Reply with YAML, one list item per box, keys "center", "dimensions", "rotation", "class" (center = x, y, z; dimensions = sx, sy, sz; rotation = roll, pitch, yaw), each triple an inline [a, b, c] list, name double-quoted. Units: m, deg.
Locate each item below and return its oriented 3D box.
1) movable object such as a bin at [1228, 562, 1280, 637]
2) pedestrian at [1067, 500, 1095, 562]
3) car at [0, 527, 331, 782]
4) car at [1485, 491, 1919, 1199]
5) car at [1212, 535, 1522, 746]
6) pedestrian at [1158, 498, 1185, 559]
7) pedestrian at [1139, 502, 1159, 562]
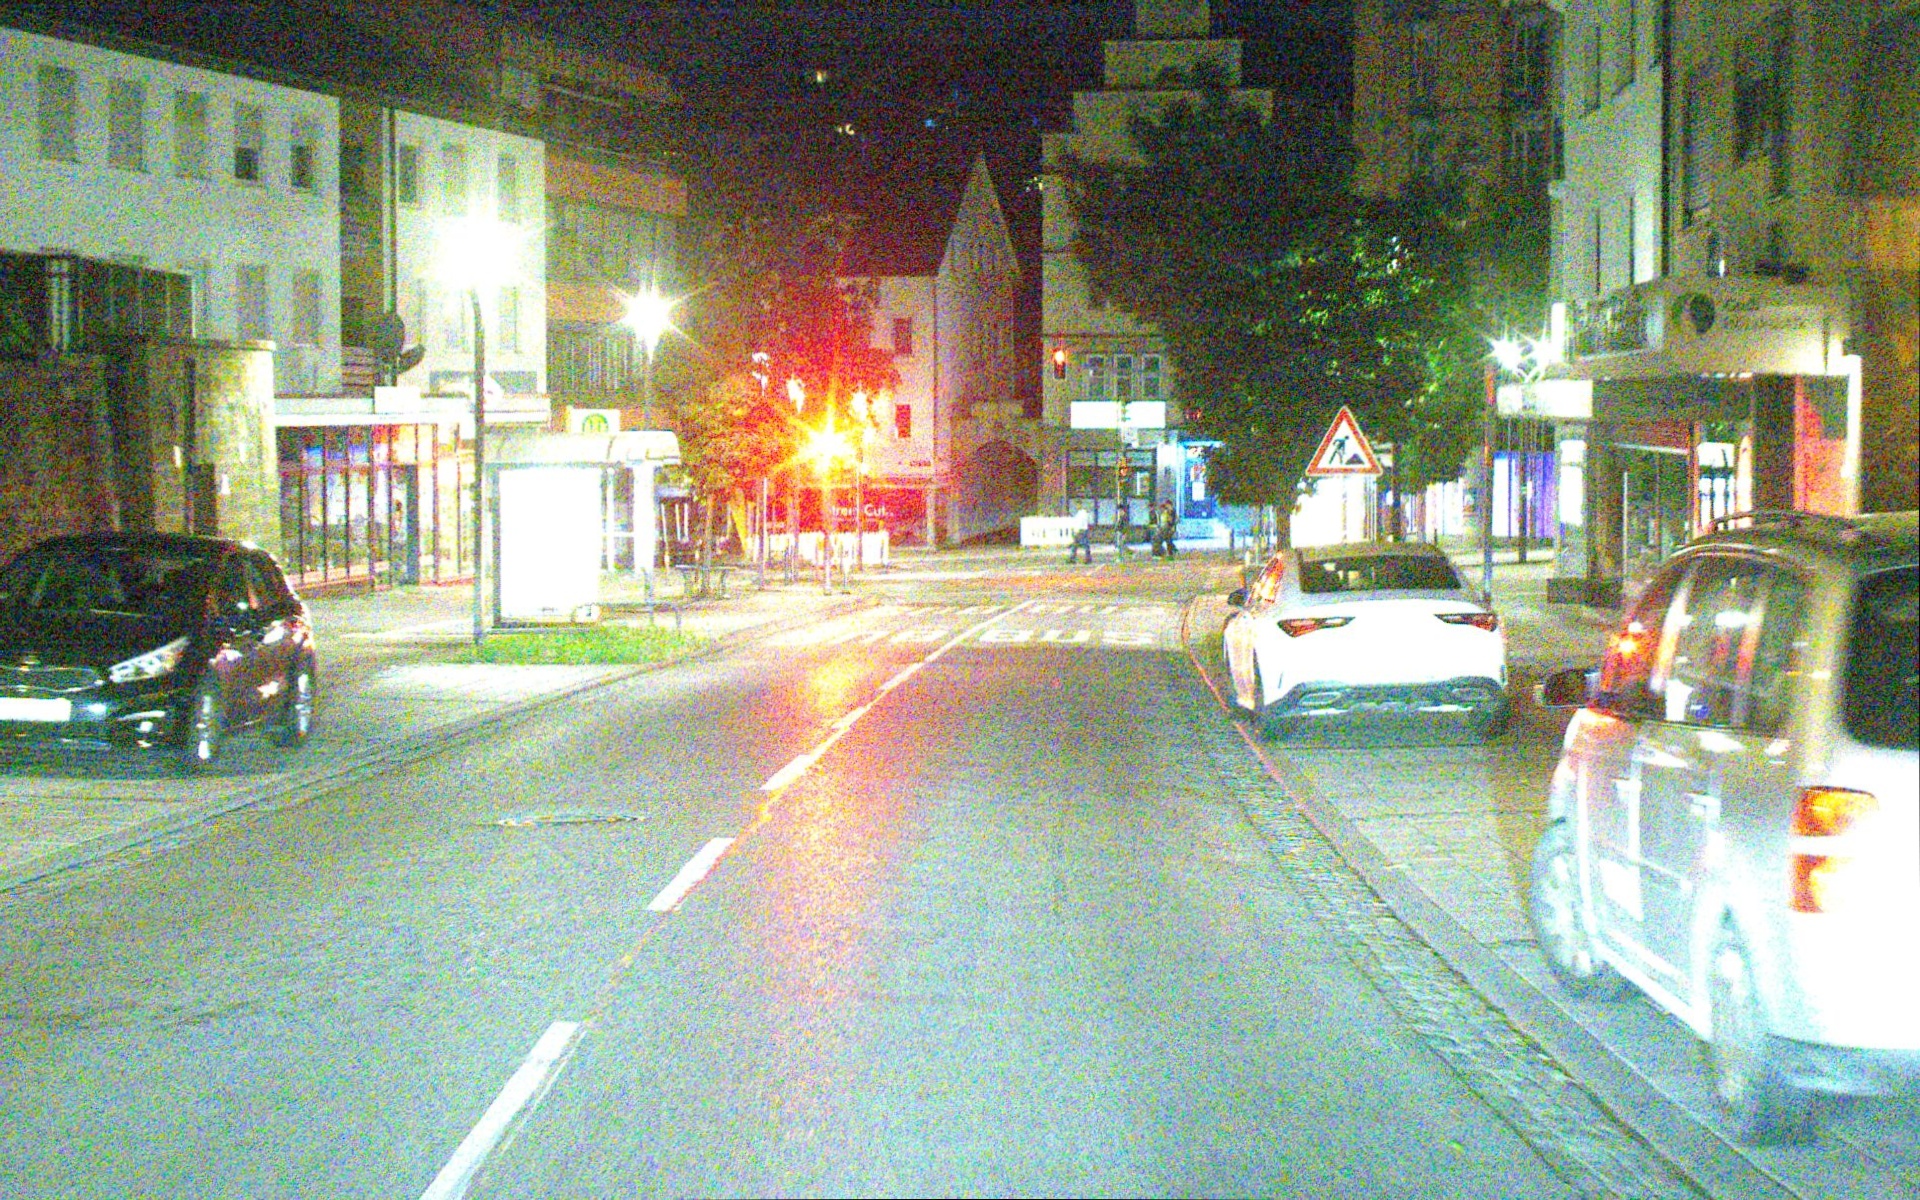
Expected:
- center: [3.738, -0.011, 43.696]
  dimensions: [0.524, 0.934, 0.629]
  rotation: [1, 0, -7]
  class: "movable object such as a bin"
- center: [3.571, -2.034, 101.518]
  dimensions: [0.716, 1.789, 0.569]
  rotation: [1, 0, 12]
  class: "pedestrian"
- center: [-5.383, 0.274, 22.221]
  dimensions: [1.692, 1.432, 4.128]
  rotation: [2, 1, 2]
  class: "car"
- center: [2.777, 0.513, 10.070]
  dimensions: [1.787, 1.636, 4.380]
  rotation: [-1, 1, 0]
  class: "car"
- center: [2.995, 0.243, 26.199]
  dimensions: [1.857, 1.437, 4.594]
  rotation: [-1, 1, 1]
  class: "car"
- center: [6.278, -2.120, 102.092]
  dimensions: [0.735, 1.789, 0.718]
  rotation: [1, 0, 2]
  class: "pedestrian"
- center: [5.765, -2.067, 104.874]
  dimensions: [0.567, 1.789, 0.718]
  rotation: [1, 0, 2]
  class: "pedestrian"
